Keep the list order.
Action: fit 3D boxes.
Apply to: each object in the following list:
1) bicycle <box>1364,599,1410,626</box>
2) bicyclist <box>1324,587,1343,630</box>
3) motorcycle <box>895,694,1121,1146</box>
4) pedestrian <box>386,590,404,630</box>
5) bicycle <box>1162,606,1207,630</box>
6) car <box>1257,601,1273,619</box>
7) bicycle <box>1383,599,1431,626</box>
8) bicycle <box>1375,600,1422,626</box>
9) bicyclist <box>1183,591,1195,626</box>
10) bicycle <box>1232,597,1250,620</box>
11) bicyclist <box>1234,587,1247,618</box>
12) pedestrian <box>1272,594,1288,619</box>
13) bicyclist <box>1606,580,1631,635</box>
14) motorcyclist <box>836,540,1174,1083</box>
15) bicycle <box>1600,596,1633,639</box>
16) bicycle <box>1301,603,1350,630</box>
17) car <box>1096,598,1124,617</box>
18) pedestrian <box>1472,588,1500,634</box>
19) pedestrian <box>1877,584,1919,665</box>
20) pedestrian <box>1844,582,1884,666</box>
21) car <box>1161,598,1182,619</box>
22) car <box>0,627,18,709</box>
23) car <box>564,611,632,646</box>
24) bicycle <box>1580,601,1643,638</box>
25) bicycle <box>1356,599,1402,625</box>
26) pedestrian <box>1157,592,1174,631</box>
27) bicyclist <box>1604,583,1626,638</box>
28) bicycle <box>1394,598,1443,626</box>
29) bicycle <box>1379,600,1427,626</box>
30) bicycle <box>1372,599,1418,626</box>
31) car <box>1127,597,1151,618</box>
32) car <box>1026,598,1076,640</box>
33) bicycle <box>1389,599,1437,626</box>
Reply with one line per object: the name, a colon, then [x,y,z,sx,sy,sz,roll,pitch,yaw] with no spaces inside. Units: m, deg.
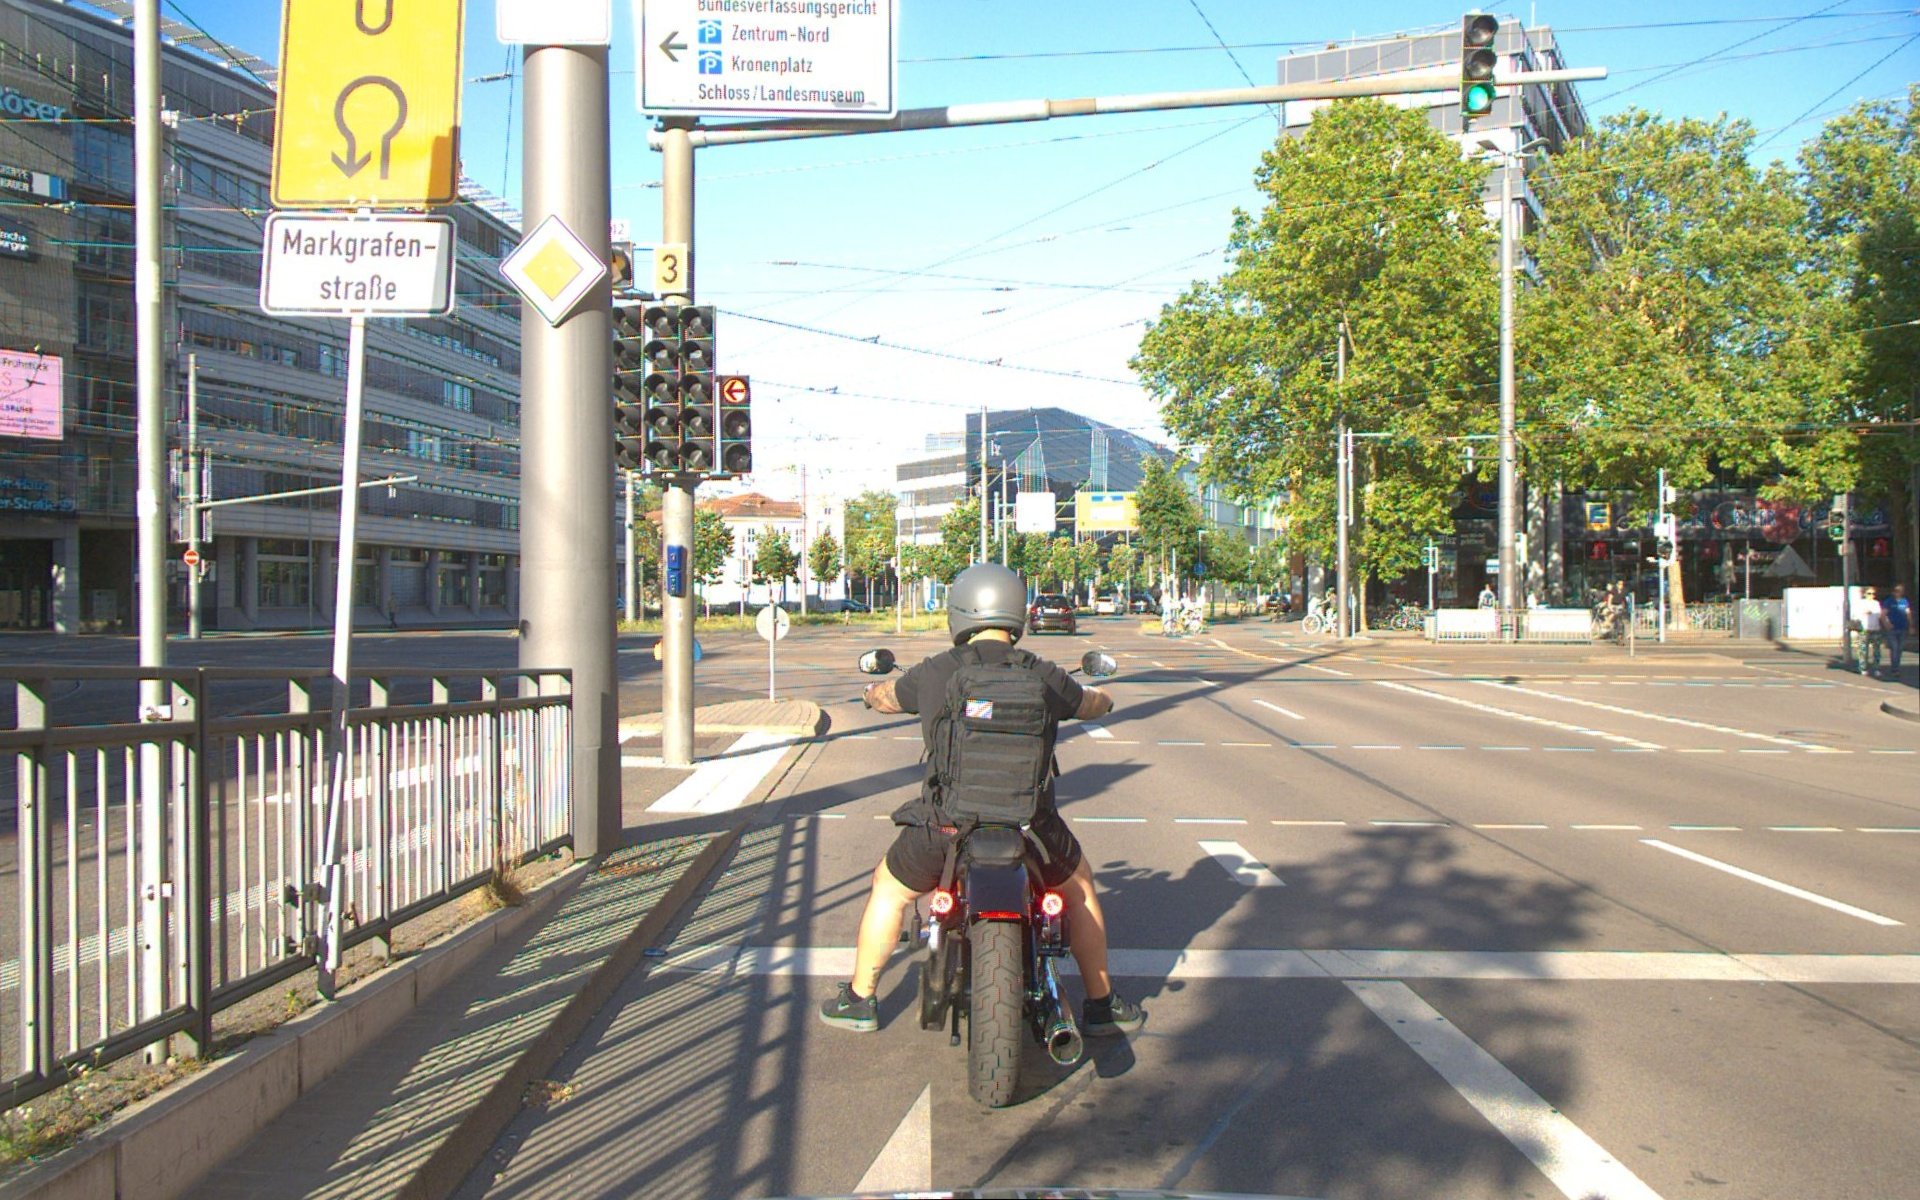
bicycle: [18.011,0.524,69.760,1.842,1.064,0.360,1,0,-2]
bicyclist: [14.762,0.344,65.382,0.673,1.702,0.541,0,-1,18]
motorcycle: [0.112,0.919,5.528,0.588,1.054,2.233,1,0,-1]
pedestrian: [-29.266,0.514,85.683,0.617,2.049,0.754,1,-1,-1]
bicycle: [9.111,0.718,67.210,1.792,0.942,0.357,1,-1,-9]
car: [31.404,1.034,170.049,1.497,1.870,3.578,1,-1,12]
bicycle: [18.269,0.516,67.593,1.842,1.065,0.360,1,-1,-2]
bicycle: [18.229,0.538,68.781,1.842,1.065,0.360,1,-1,-2]
bicyclist: [9.322,0.356,67.247,0.374,1.397,0.344,1,-1,-9]
bicycle: [17.172,0.508,101.083,0.710,1.391,2.918,1,-1,3]
bicyclist: [17.180,0.160,101.209,0.682,1.840,0.729,1,-1,3]
pedestrian: [17.578,0.364,90.931,0.802,1.337,0.638,1,-1,8]
bicyclist: [18.561,0.211,46.644,0.553,1.545,0.634,1,-1,14]
motorcyclist: [0.130,0.630,5.396,1.009,1.621,0.873,0,0,-1]
bicycle: [18.528,0.505,46.685,0.554,1.199,2.331,1,-1,14]
bicycle: [14.461,0.667,65.472,1.831,1.062,0.537,0,-1,18]
car: [12.067,0.576,132.589,1.765,1.455,4.457,0,0,12]
pedestrian: [20.088,0.427,63.216,0.816,1.734,0.759,1,-1,-1]
pedestrian: [17.708,0.468,31.229,0.554,1.505,0.702,1,-1,20]
pedestrian: [17.151,0.452,31.380,0.554,1.559,0.702,1,-1,20]
car: [19.968,0.797,156.312,1.692,1.870,3.578,1,-1,12]
car: [-14.507,0.903,22.422,2.835,1.081,1.235,1,-1,-22]
car: [-17.098,1.343,78.277,1.712,1.550,4.003,1,-1,11]
bicycle: [22.414,0.680,56.916,2.001,1.235,0.421,1,-1,-1]
bicycle: [17.965,0.524,70.910,1.842,1.064,0.360,1,0,-2]
pedestrian: [8.590,0.483,68.990,0.576,1.584,0.488,1,-1,-9]
bicyclist: [22.527,0.368,56.917,0.572,1.870,0.402,1,-1,-1]
bicycle: [18.301,0.476,65.997,1.842,1.065,0.360,1,-1,-2]
bicycle: [18.256,0.533,68.149,1.842,1.064,0.360,1,0,-2]
bicycle: [18.215,0.530,69.266,1.842,1.064,0.360,1,0,-2]
car: [15.729,0.664,144.950,1.765,1.708,4.044,1,-1,11]
car: [3.683,0.756,66.679,1.765,1.623,4.456,0,0,6]
bicycle: [18.274,0.495,66.779,1.842,1.065,0.360,1,-1,-2]
